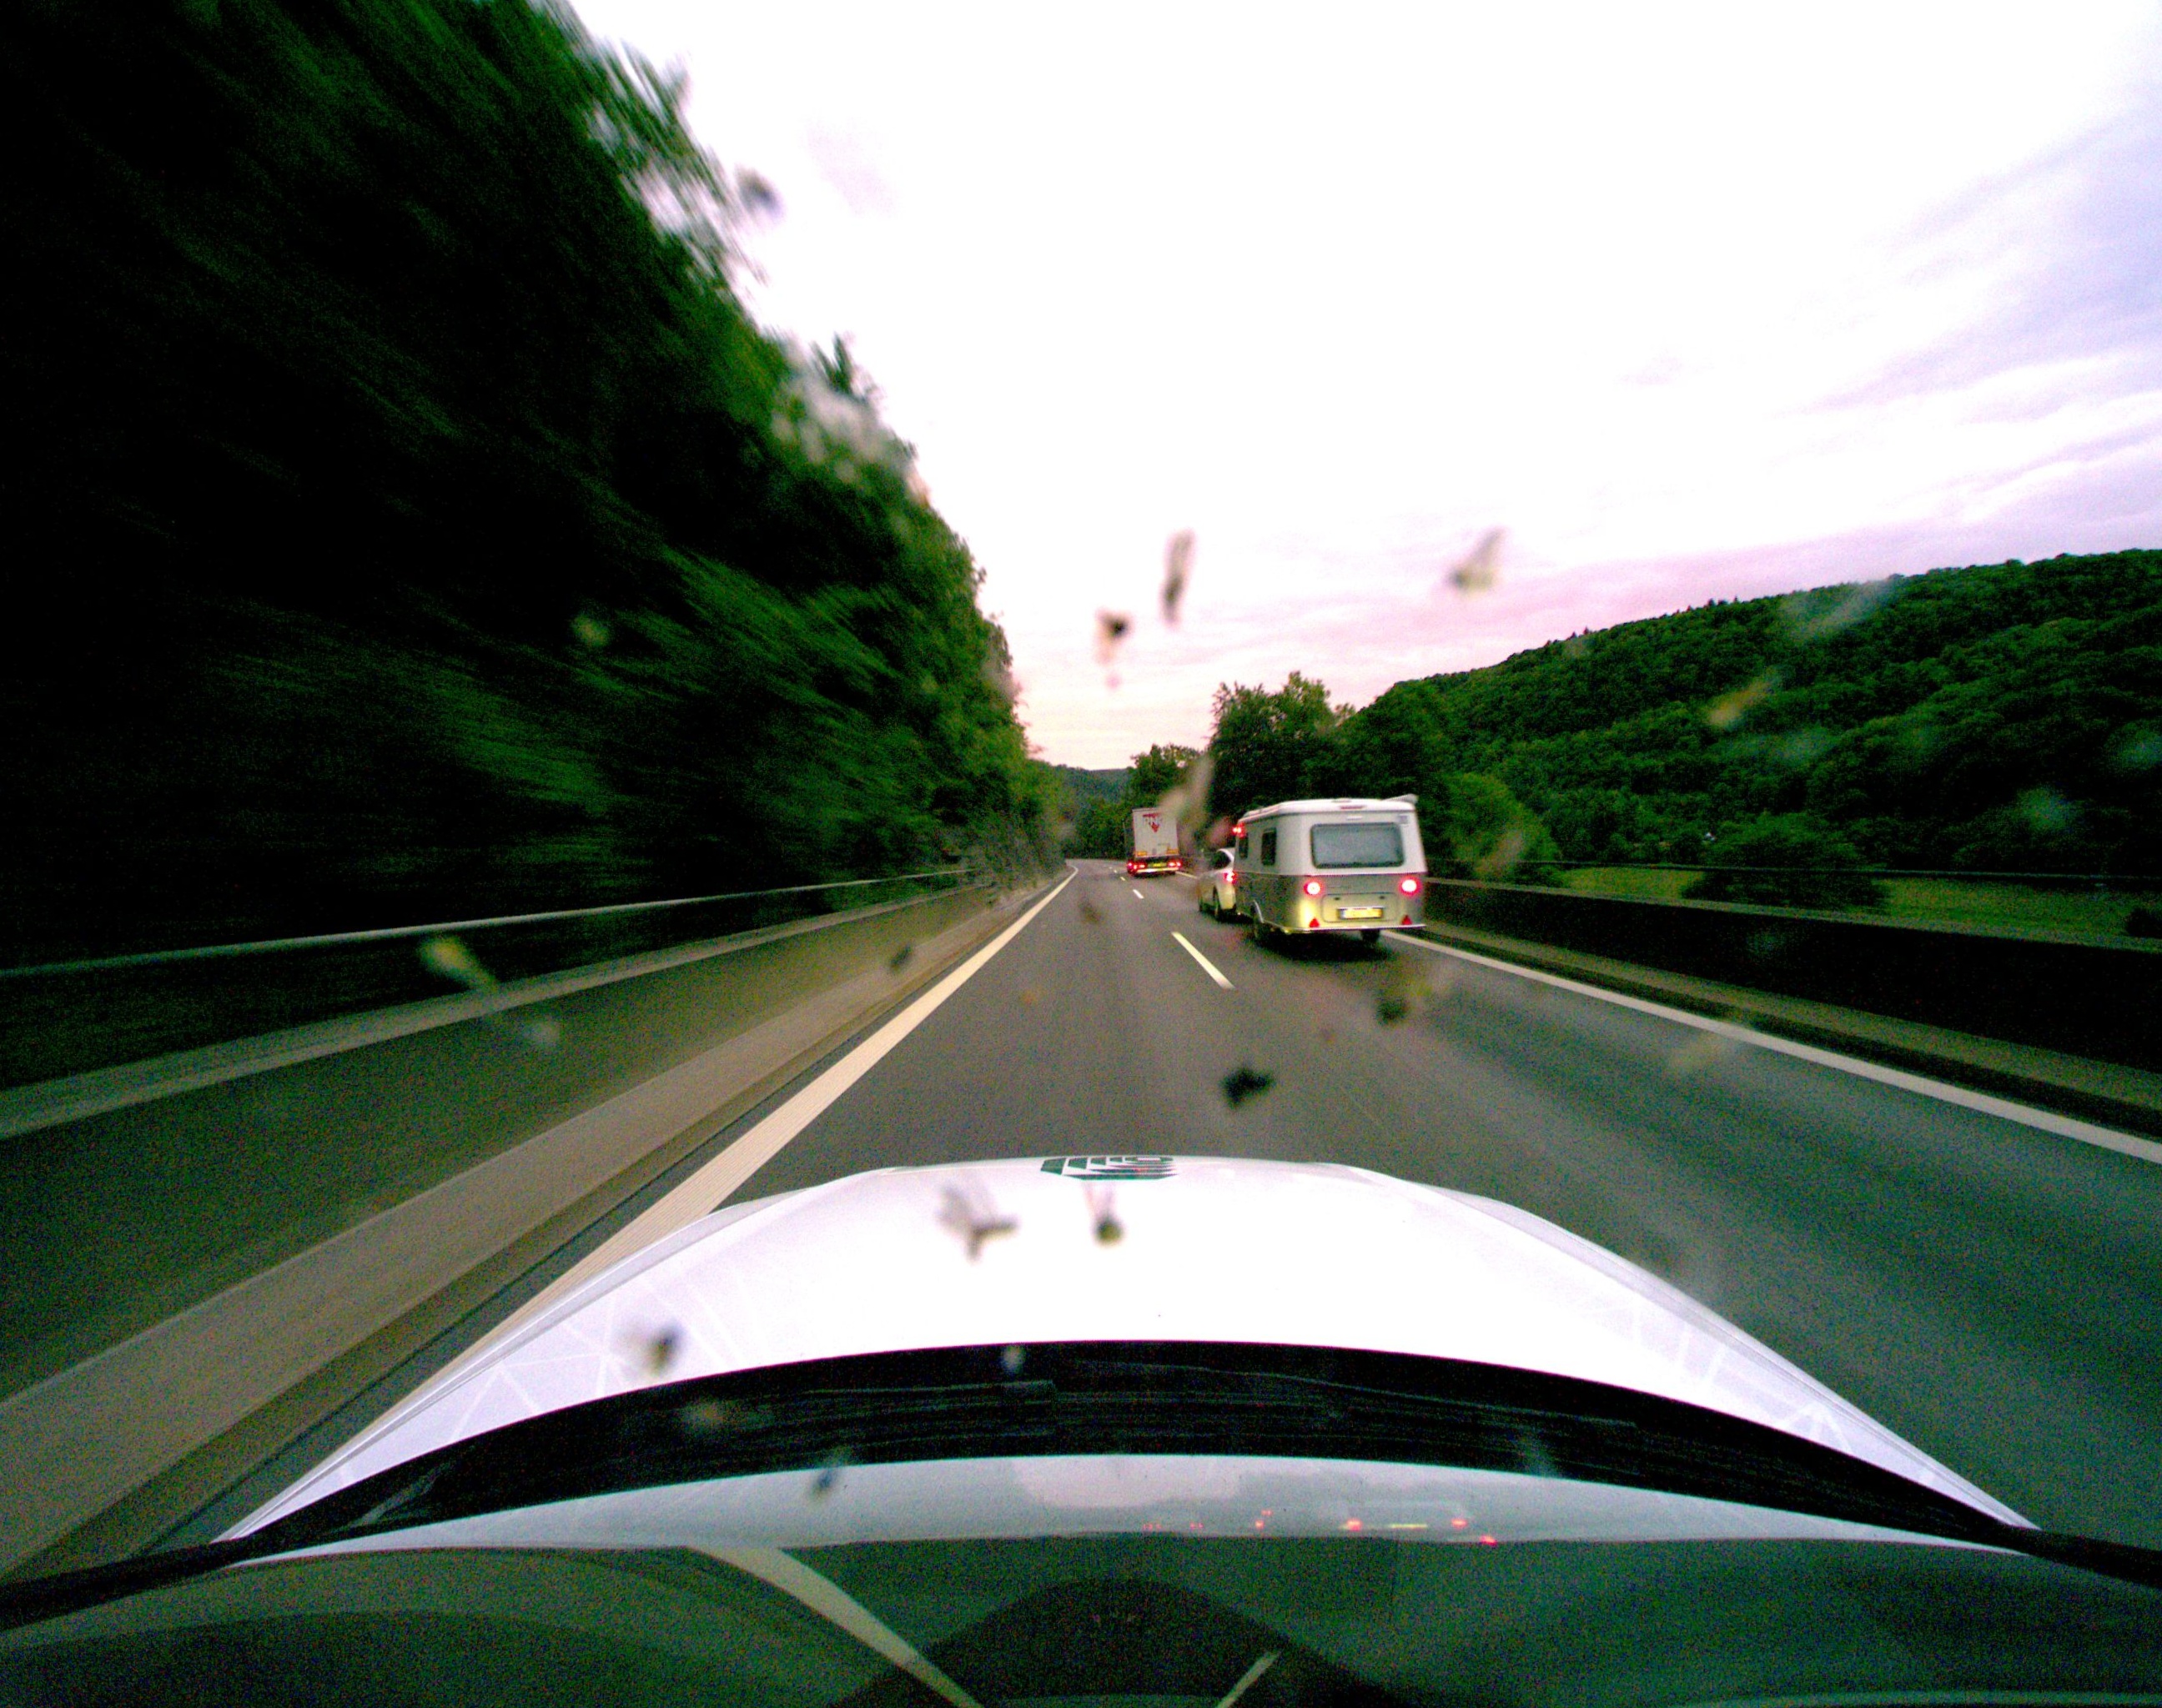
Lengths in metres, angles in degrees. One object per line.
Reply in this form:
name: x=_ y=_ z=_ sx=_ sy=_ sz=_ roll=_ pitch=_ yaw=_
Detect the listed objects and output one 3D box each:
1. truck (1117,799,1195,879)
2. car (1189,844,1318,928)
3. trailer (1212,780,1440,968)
truck: x=4.464 y=-0.772 z=52.902 sx=3.284 sy=4.172 sz=16.499 roll=-4 pitch=0 yaw=0
car: x=3.861 y=0.665 z=19.171 sx=1.987 sy=1.614 sz=4.864 roll=-3 pitch=0 yaw=0
trailer: x=3.729 y=0.267 z=13.766 sx=2.047 sy=2.375 sz=5.939 roll=-3 pitch=0 yaw=1
